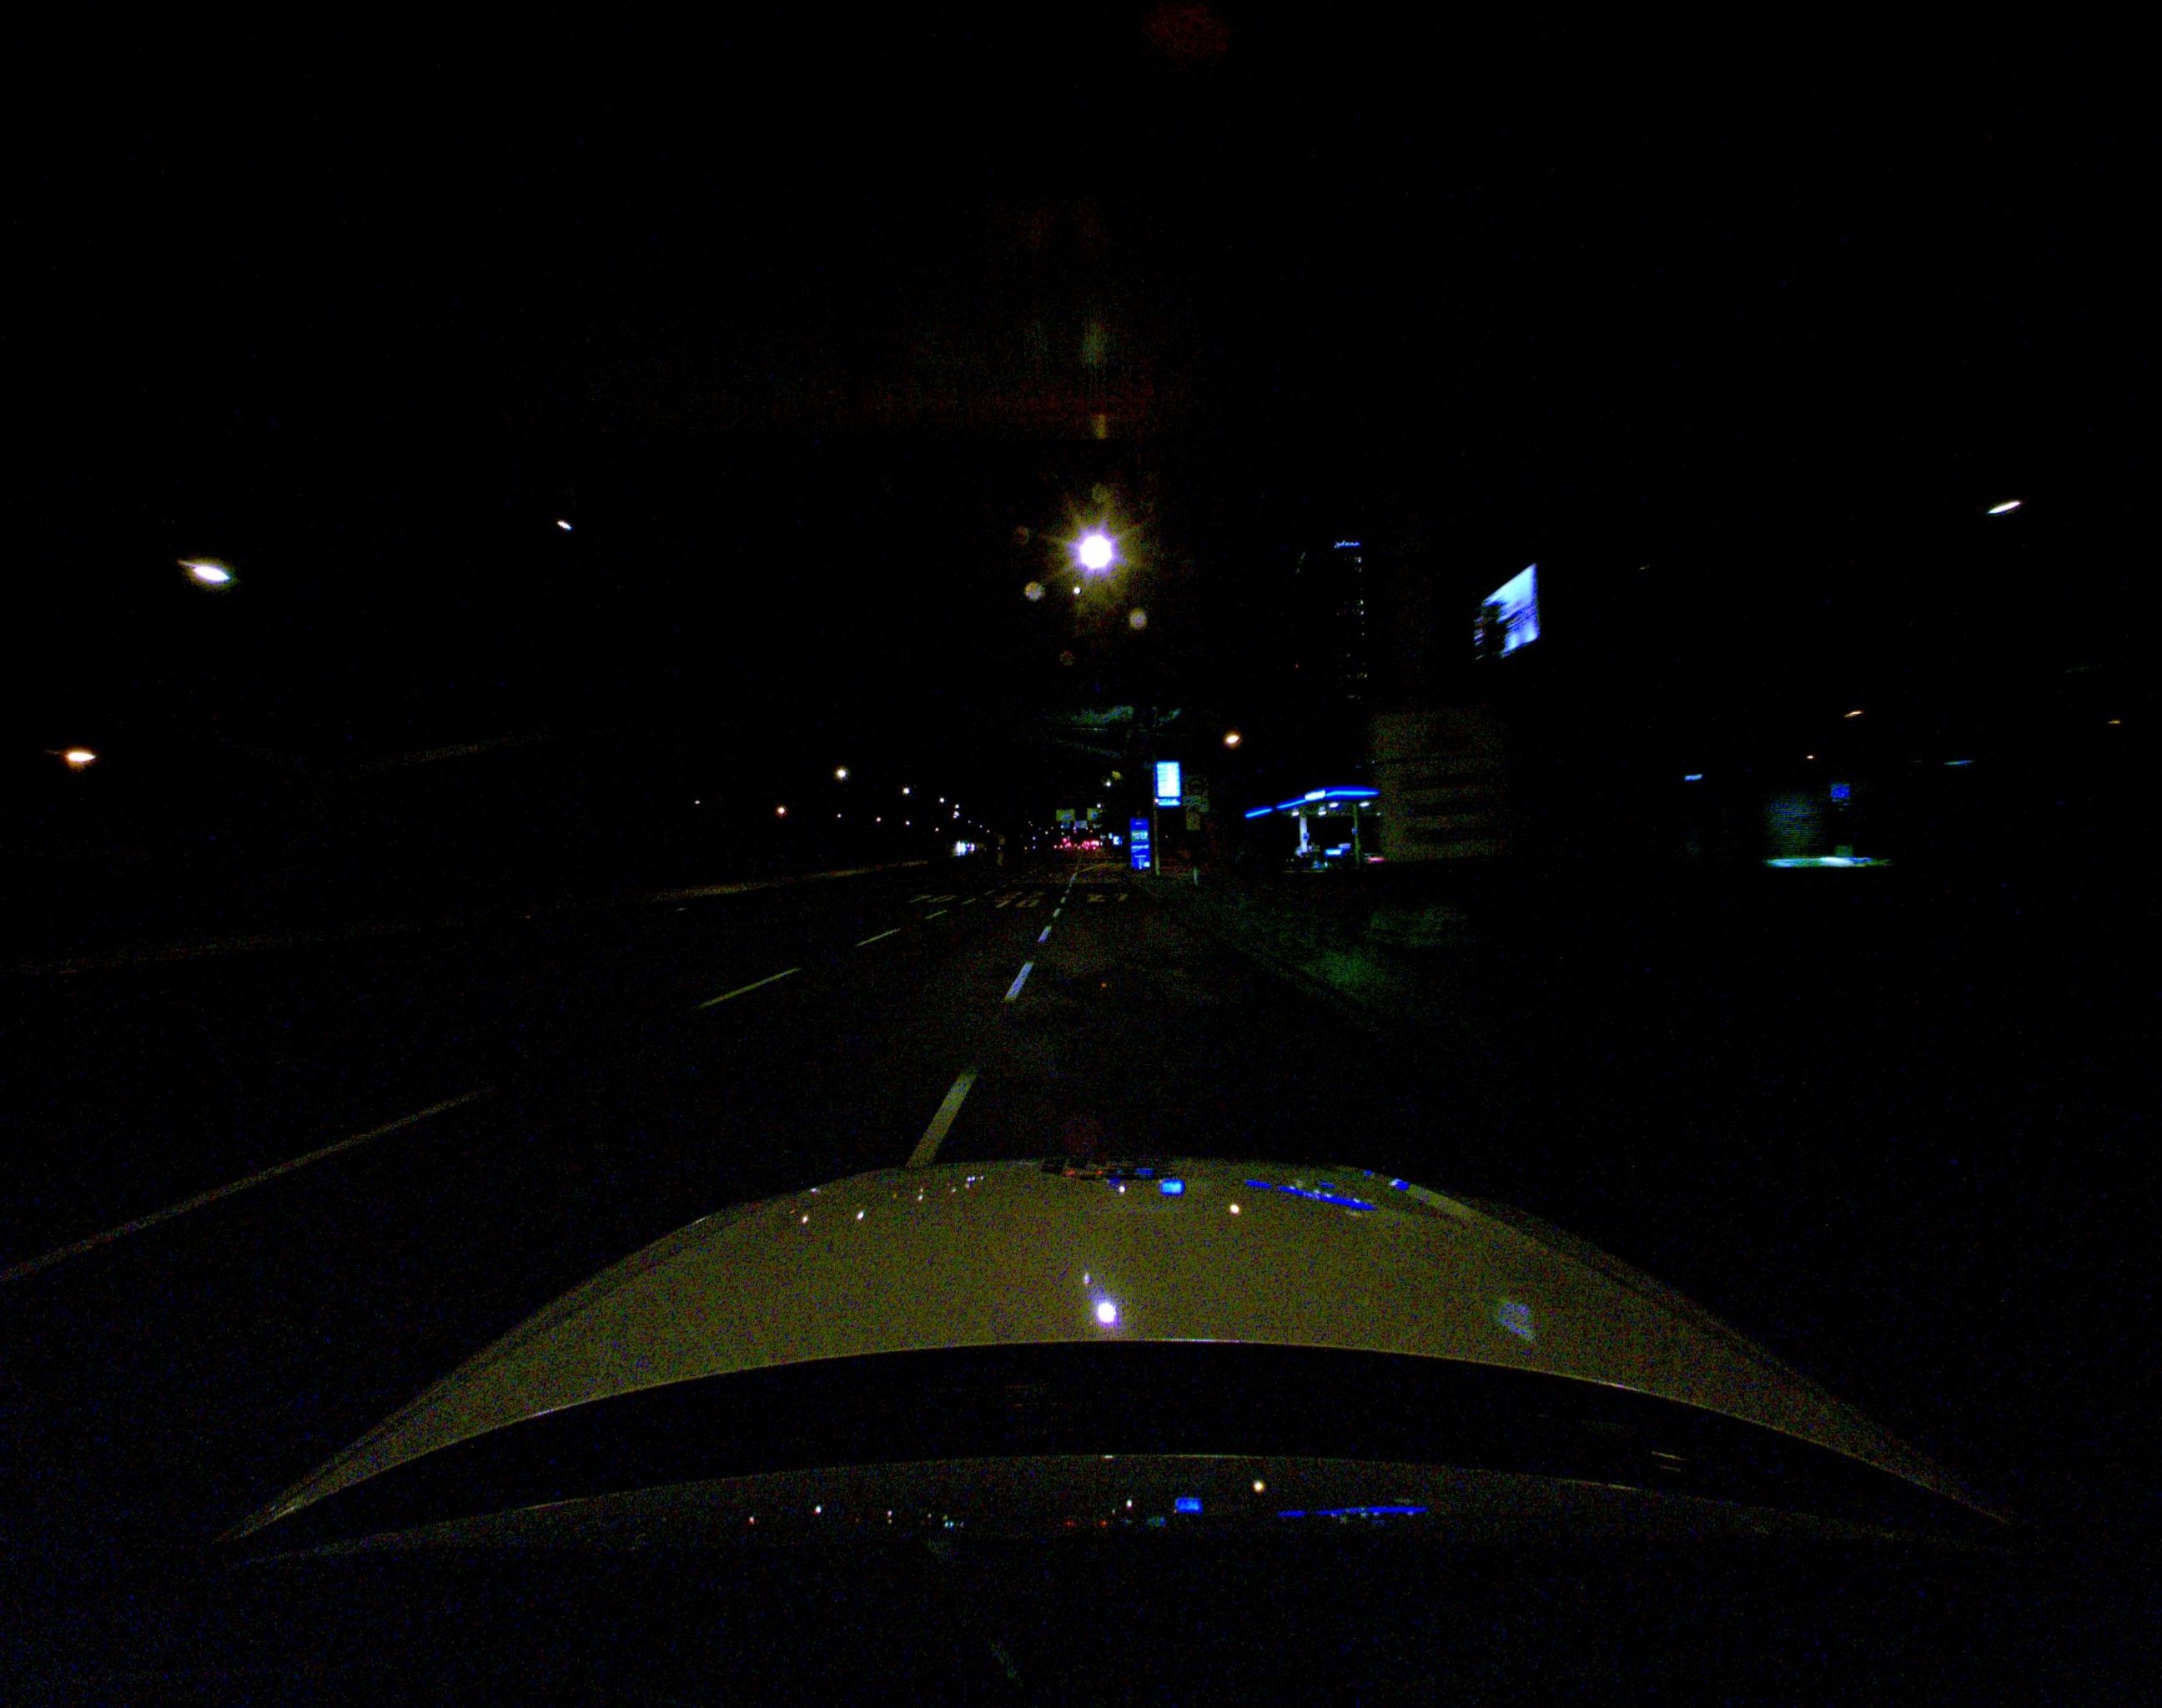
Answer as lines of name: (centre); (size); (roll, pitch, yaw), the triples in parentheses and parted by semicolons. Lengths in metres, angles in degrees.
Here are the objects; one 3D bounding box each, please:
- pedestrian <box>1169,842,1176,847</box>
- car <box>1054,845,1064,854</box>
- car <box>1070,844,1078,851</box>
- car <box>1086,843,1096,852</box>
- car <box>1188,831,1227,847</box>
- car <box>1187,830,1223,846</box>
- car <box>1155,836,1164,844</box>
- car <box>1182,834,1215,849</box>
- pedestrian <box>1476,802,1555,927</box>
pedestrian: (16.677, -1.764, 148.833); (0.999, 1.008, 0.767); (0, -1, -15)
car: (-4.628, -0.949, 171.115); (1.960, 1.711, 4.002); (0, -1, 2)
car: (-1.650, -1.495, 195.671); (1.775, 1.711, 4.002); (0, -1, 3)
car: (2.023, -1.227, 161.917); (1.960, 1.711, 4.002); (0, -1, 2)
car: (14.476, -1.695, 93.273); (4.104, 1.522, 1.823); (-3, -1, 1)
car: (14.528, -1.817, 95.661); (3.972, 1.571, 1.739); (-4, -1, 1)
car: (17.120, -3.065, 178.352); (1.882, 1.511, 3.643); (0, -1, 7)
car: (14.486, -1.518, 100.285); (3.715, 1.489, 1.741); (-4, -1, -2)
pedestrian: (6.991, 0.163, 13.134); (0.800, 1.913, 0.795); (-4, 0, 10)
